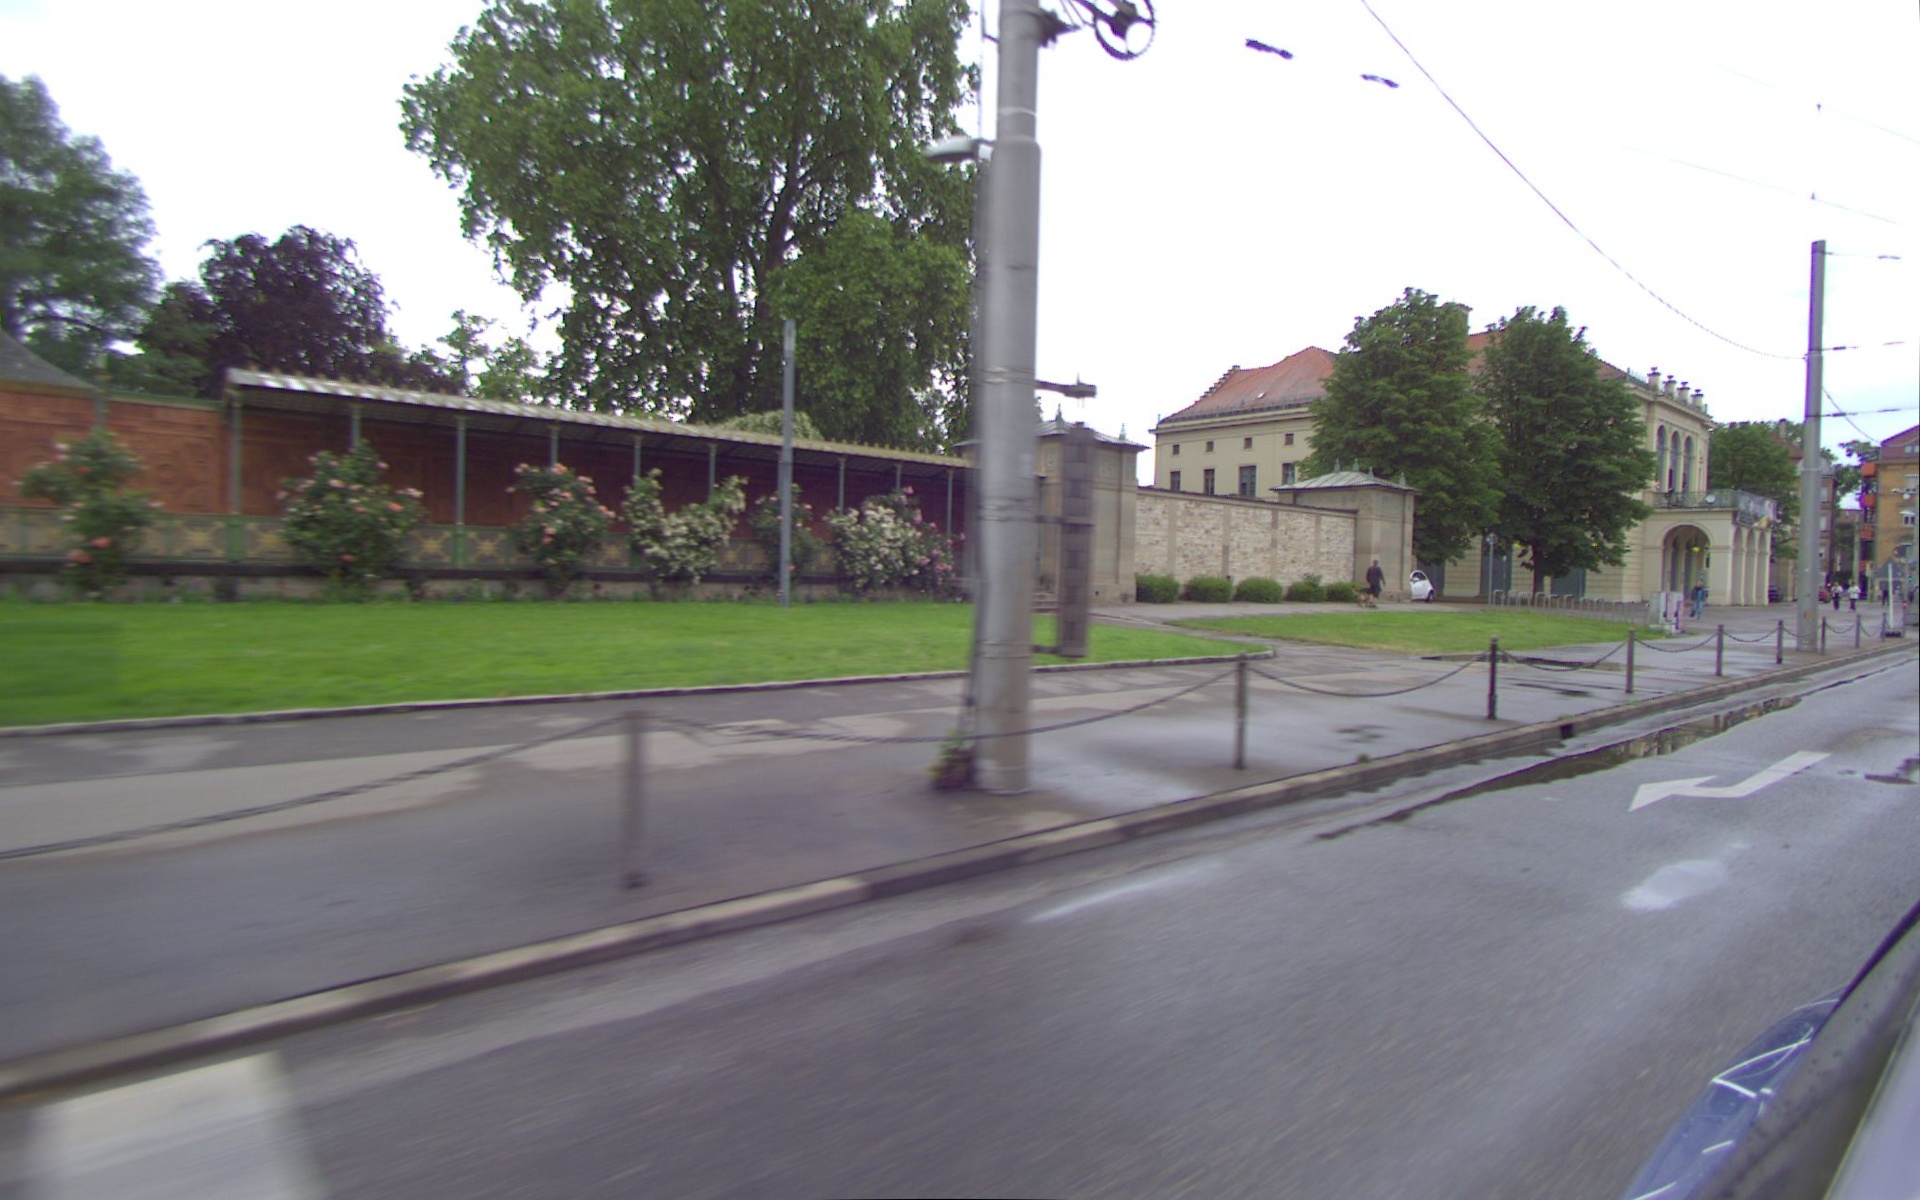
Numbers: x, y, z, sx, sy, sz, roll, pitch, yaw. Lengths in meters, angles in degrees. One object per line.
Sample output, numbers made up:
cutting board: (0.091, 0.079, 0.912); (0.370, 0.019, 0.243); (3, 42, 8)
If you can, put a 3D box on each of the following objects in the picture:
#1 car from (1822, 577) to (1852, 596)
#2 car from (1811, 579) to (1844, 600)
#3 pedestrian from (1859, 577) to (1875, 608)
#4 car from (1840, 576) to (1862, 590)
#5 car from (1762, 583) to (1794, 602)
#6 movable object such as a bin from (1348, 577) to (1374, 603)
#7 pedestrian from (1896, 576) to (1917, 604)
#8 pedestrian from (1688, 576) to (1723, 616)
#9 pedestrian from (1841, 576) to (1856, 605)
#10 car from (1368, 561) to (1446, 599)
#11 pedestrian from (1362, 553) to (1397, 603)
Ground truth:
car: (78.325, -1.267, 90.377); (1.826, 1.602, 3.938); (3, 3, 43)
car: (70.888, -0.873, 82.676); (1.826, 1.602, 3.938); (3, 3, 43)
pedestrian: (52.693, -0.461, 58.802); (0.825, 1.757, 0.594); (-1, 2, -43)
car: (105.595, -1.993, 119.943); (1.826, 1.602, 3.938); (3, 3, 43)
car: (68.846, -0.669, 85.161); (1.858, 1.567, 4.004); (1, 2, 43)
movable object such as a bin: (14.195, -0.347, 35.822); (1.170, 0.882, 0.343); (0, 2, -40)
pedestrian: (63.291, -0.683, 67.701); (0.768, 1.829, 0.696); (0, 1, 9)
pedestrian: (30.612, -0.167, 41.558); (0.654, 1.610, 0.868); (1, 2, -14)
pedestrian: (52.206, -0.548, 59.454); (0.627, 1.664, 0.769); (2, 2, 43)
car: (20.007, -0.897, 45.272); (3.534, 1.473, 1.840); (2, 1, -41)
pedestrian: (14.688, -0.777, 35.445); (0.964, 1.732, 0.730); (0, 2, -40)
